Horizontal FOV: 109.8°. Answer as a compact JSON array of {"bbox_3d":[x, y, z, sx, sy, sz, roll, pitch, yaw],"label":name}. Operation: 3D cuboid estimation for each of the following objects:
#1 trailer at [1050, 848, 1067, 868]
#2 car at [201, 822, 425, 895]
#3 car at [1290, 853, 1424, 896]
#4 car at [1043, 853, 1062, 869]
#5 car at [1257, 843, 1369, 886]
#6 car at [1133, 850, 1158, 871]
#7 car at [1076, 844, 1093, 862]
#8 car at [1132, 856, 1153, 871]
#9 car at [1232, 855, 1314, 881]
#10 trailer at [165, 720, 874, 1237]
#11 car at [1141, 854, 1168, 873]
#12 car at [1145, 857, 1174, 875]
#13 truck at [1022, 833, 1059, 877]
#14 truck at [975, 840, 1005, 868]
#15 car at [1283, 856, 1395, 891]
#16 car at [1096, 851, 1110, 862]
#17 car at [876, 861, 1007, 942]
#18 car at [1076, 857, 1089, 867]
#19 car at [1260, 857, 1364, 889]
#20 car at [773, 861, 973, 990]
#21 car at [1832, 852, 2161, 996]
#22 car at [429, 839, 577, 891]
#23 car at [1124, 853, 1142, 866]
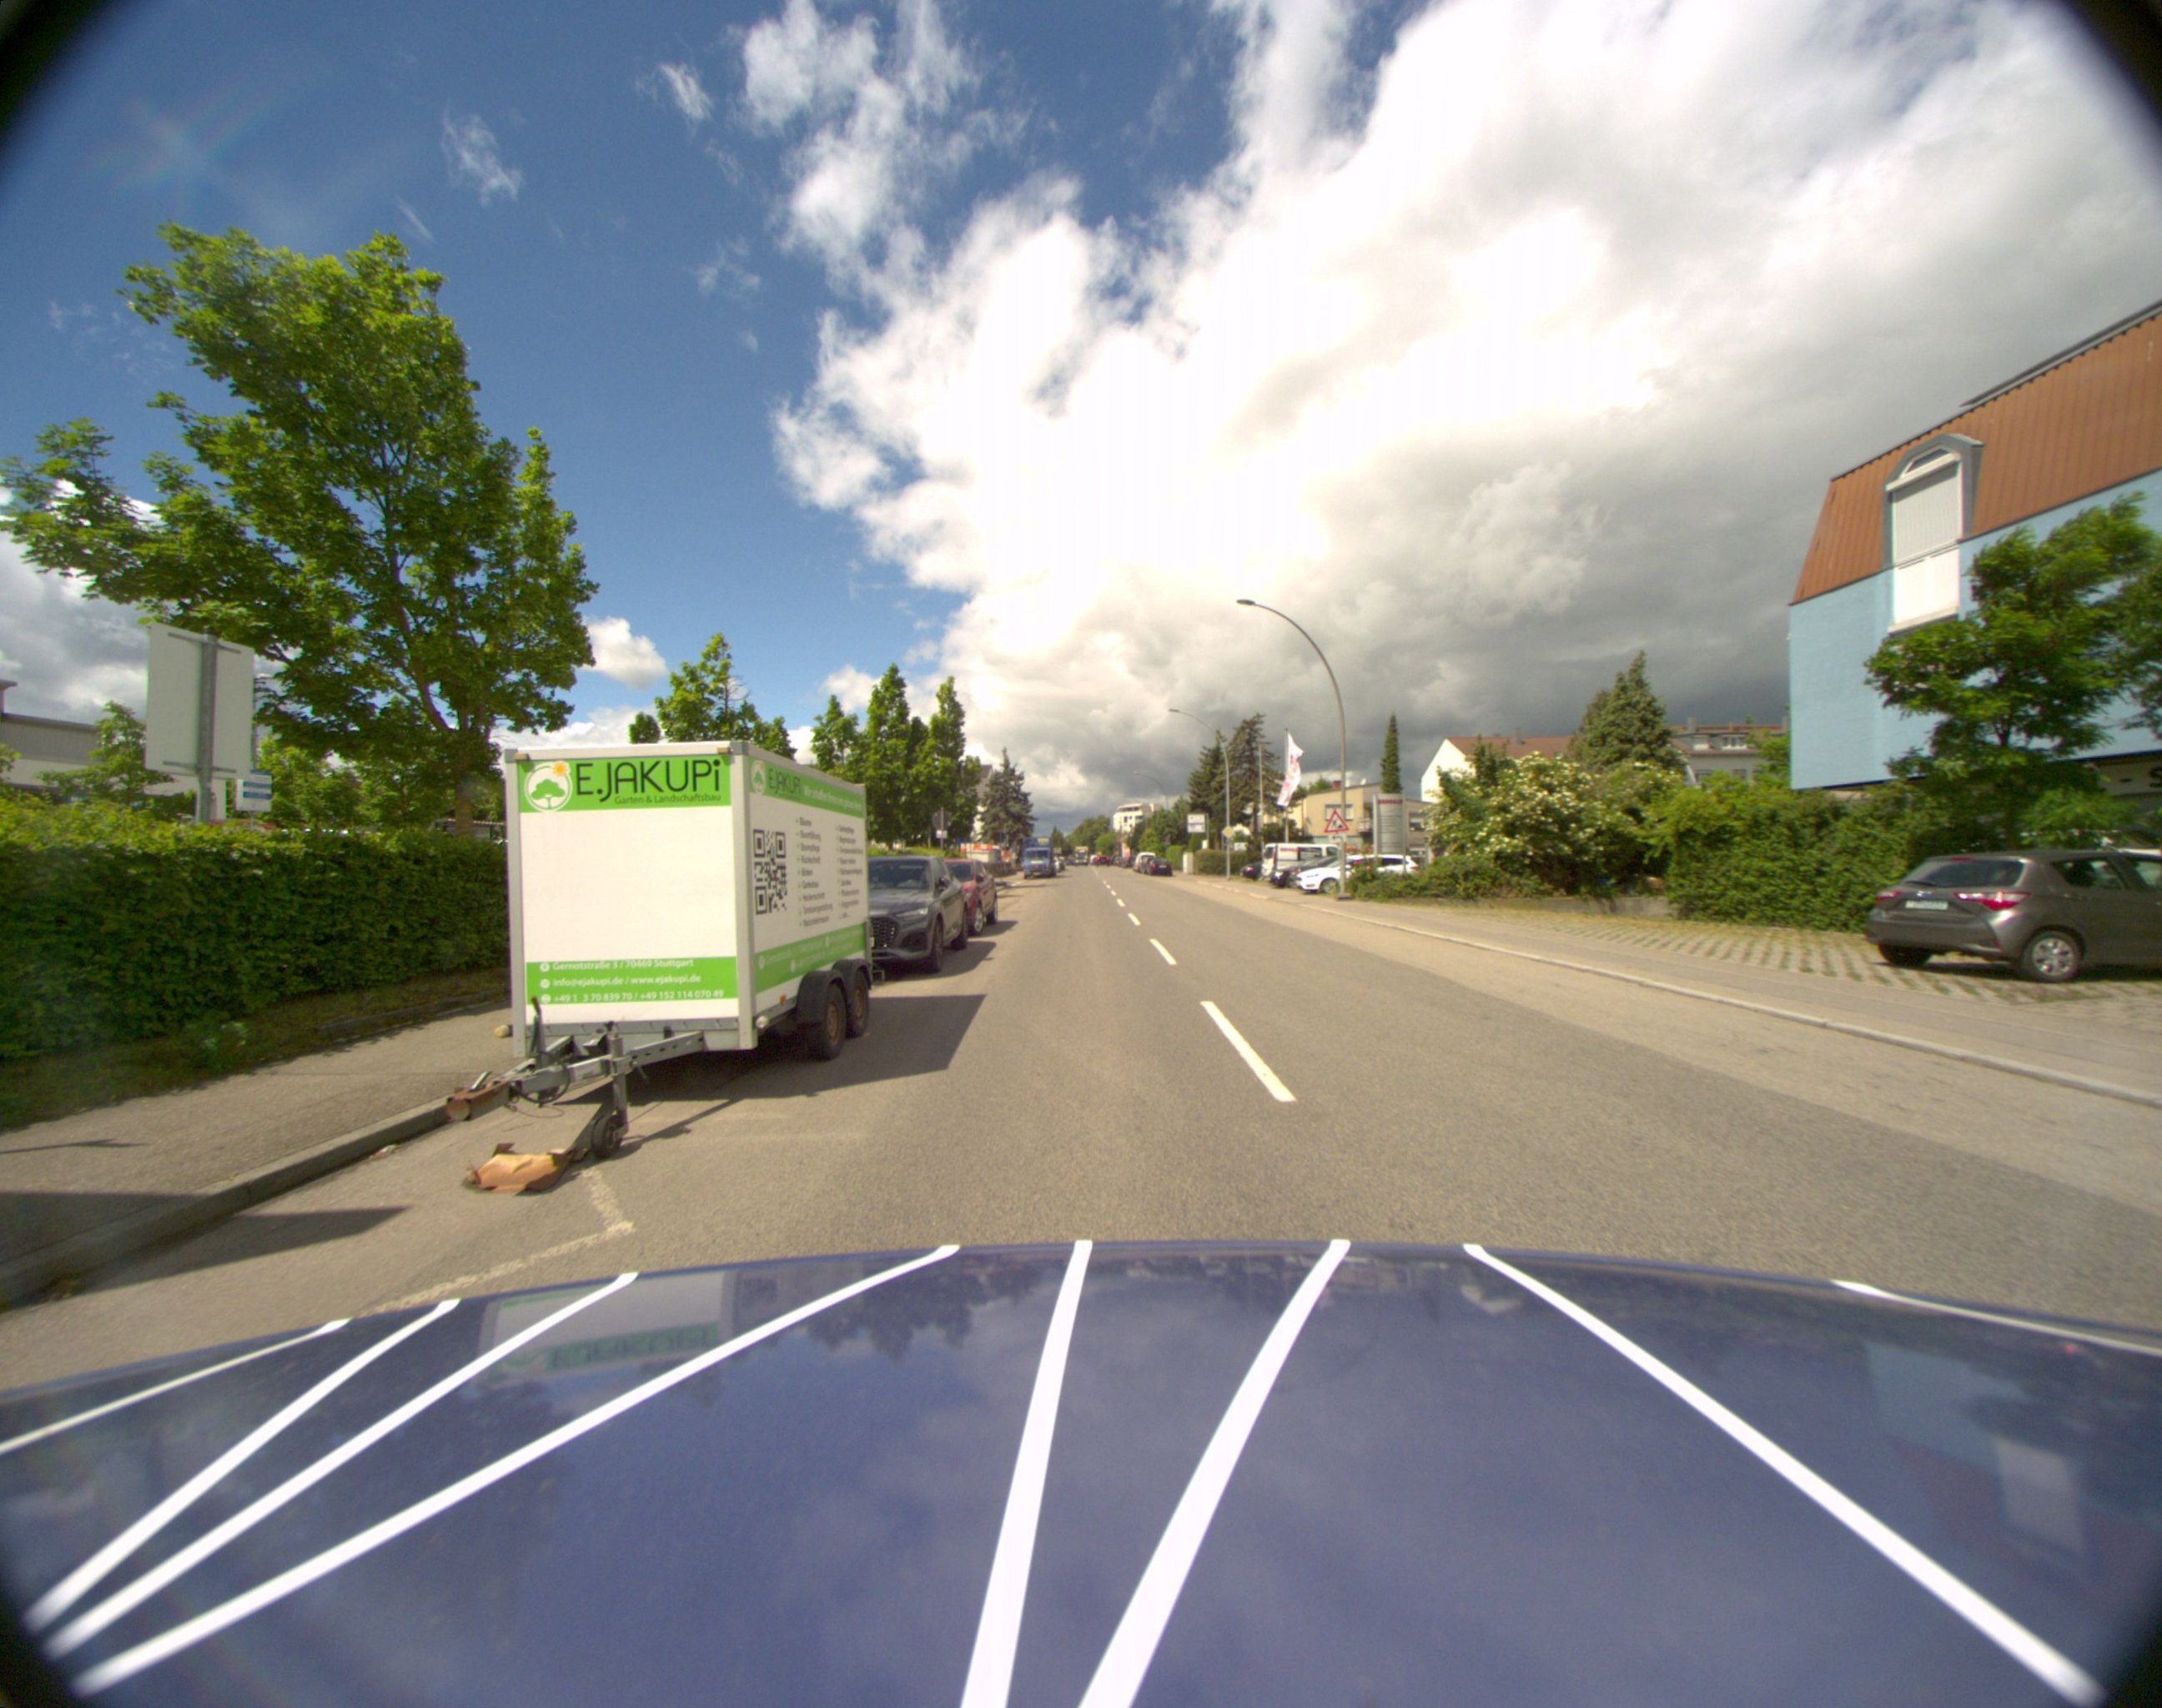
[{"bbox_3d":[-2.555,0.467,86.853,1.777,2.132,4.114,0,0,0],"label":"trailer"},{"bbox_3d":[-20.966,0.130,20.901,3.997,1.696,2.000,-3,0,-2],"label":"car"},{"bbox_3d":[10.345,0.756,28.715,4.385,1.470,1.871,-1,1,1],"label":"car"},{"bbox_3d":[-2.790,0.703,75.455,1.777,1.499,4.000,0,0,0],"label":"car"},{"bbox_3d":[11.063,0.506,36.420,4.664,1.960,2.115,-1,0,-3],"label":"car"},{"bbox_3d":[5.844,0.600,69.473,1.748,1.827,4.355,2,0,-1],"label":"car"},{"bbox_3d":[0.607,-0.143,160.741,3.263,3.595,10.270,-2,-1,-1],"label":"car"},{"bbox_3d":[6.148,0.959,76.647,1.644,1.478,4.000,2,0,-1],"label":"car"},{"bbox_3d":[10.574,0.770,42.015,3.997,1.197,1.871,-3,0,-1],"label":"car"},{"bbox_3d":[-3.079,0.550,5.593,1.946,2.281,4.445,0,0,-1],"label":"trailer"},{"bbox_3d":[6.130,0.776,63.767,1.748,1.463,4.644,2,0,-1],"label":"car"},{"bbox_3d":[6.054,0.895,58.930,1.635,1.296,4.116,2,0,-2],"label":"car"},{"bbox_3d":[-2.961,0.090,56.951,2.326,3.079,6.042,-3,0,0],"label":"truck"},{"bbox_3d":[-7.453,0.074,62.790,1.834,2.069,5.386,2,-2,-1],"label":"truck"},{"bbox_3d":[10.520,0.791,31.221,3.996,1.347,1.872,-1,0,3],"label":"car"},{"bbox_3d":[3.340,0.340,114.928,1.999,1.606,4.411,0,0,0],"label":"car"},{"bbox_3d":[-2.935,0.951,17.060,1.946,1.562,4.446,0,0,2],"label":"car"},{"bbox_3d":[0.275,1.308,124.073,1.892,1.708,3.999,0,0,-2],"label":"car"},{"bbox_3d":[10.106,0.823,33.487,3.997,1.307,1.871,-1,1,-1],"label":"car"},{"bbox_3d":[-2.879,0.902,11.604,1.947,1.562,4.445,0,0,-2],"label":"car"},{"bbox_3d":[11.918,0.766,9.196,3.636,1.524,1.980,-1,0,2],"label":"car"},{"bbox_3d":[-21.846,0.417,28.861,3.997,1.696,2.000,-3,0,-2],"label":"car"},{"bbox_3d":[6.182,0.682,90.965,1.724,1.484,4.735,0,0,-2],"label":"car"}]
